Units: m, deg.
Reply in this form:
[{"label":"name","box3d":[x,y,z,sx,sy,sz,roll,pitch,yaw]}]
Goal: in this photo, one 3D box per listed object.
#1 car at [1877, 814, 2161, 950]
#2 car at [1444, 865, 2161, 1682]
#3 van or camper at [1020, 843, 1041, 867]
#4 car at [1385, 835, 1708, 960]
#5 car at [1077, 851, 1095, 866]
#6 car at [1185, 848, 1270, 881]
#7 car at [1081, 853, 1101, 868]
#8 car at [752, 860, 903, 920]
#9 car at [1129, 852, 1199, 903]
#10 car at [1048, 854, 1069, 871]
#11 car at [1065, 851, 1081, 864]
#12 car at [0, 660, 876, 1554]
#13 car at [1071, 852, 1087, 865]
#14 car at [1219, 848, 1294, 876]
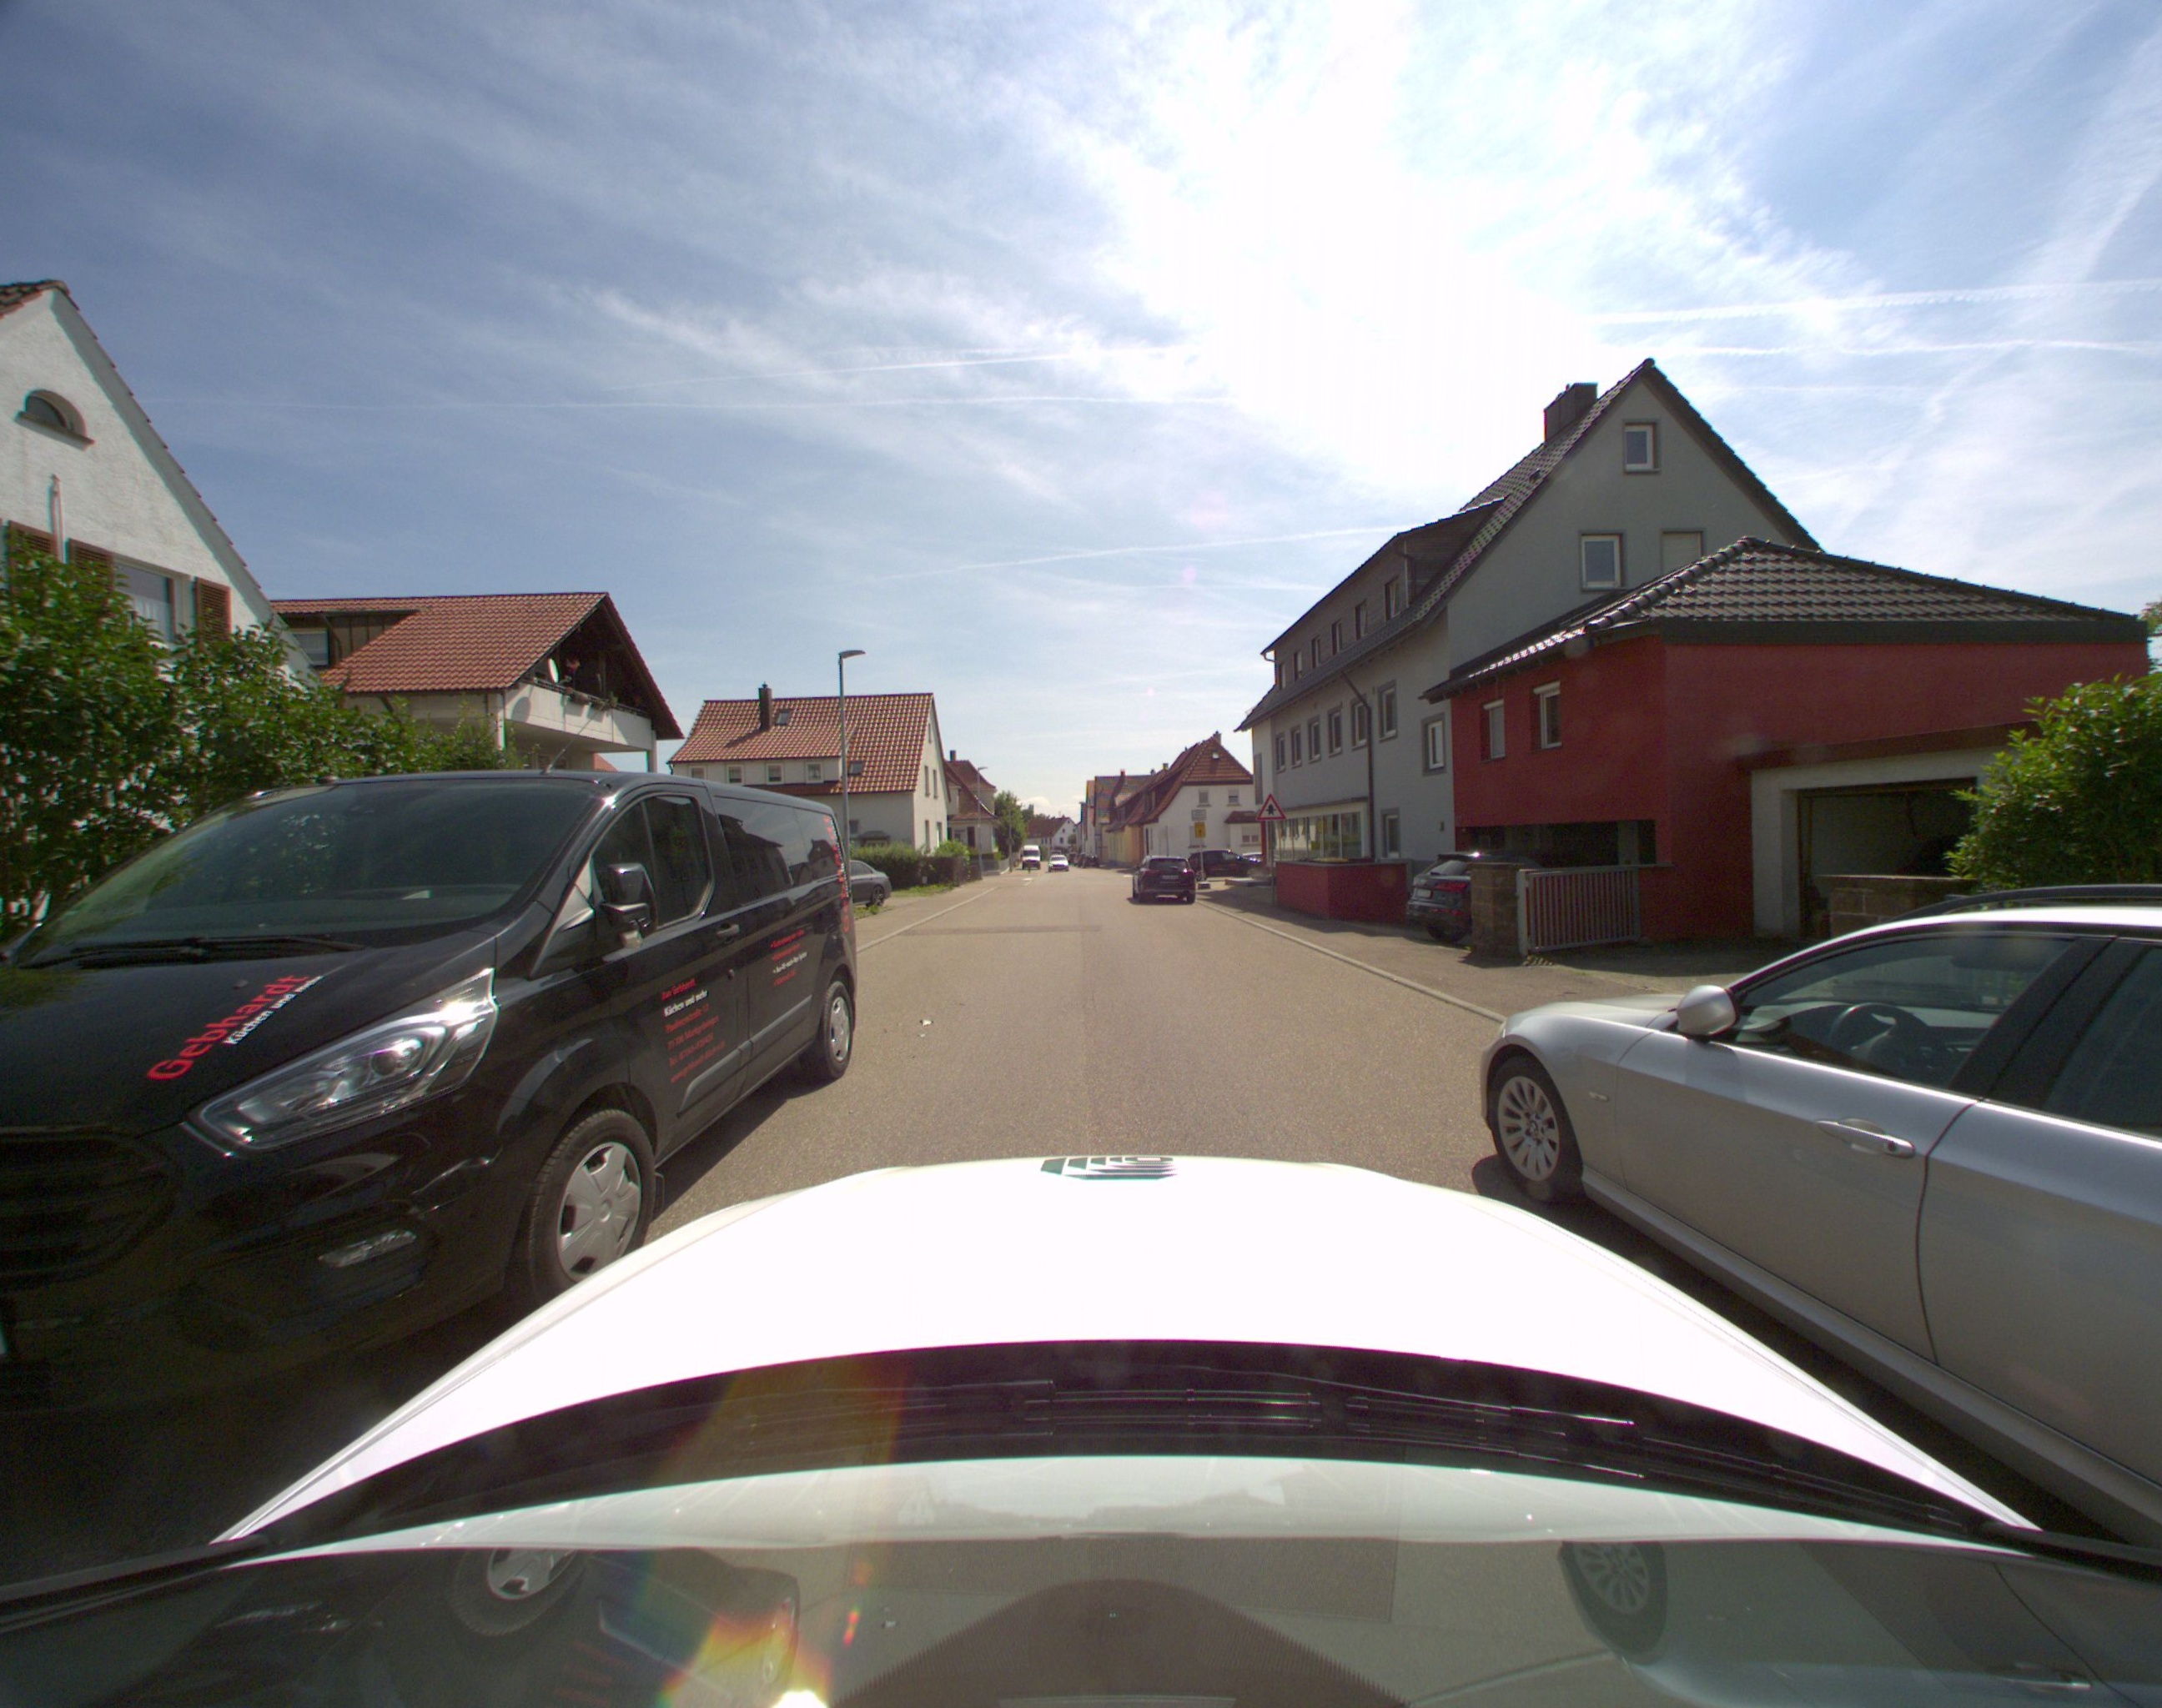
[{"label":"car","box3d":[12.999,0.280,10.443,3.945,1.465,1.787,-3,1,-3]},{"label":"car","box3d":[2.805,0.771,2.136,1.746,1.421,4.420,0,0,0]},{"label":"van or camper","box3d":[-5.546,0.096,89.089,2.180,2.571,6.797,-1,0,-4]},{"label":"car","box3d":[7.678,0.691,13.721,4.357,1.668,1.875,4,0,-3]},{"label":"car","box3d":[0.521,0.519,89.799,1.725,1.600,4.248,-1,0,-3]},{"label":"car","box3d":[7.676,0.537,42.997,4.274,1.653,1.850,-1,0,4]},{"label":"car","box3d":[1.028,0.644,84.050,1.608,1.431,3.746,-1,0,-6]},{"label":"car","box3d":[-6.951,0.943,22.894,1.813,1.432,4.582,-1,0,16]},{"label":"car","box3d":[2.662,0.726,27.046,1.757,1.527,4.403,-1,0,-1]},{"label":"car","box3d":[-2.053,0.708,72.339,1.749,1.438,4.584,-1,0,-3]},{"label":"car","box3d":[-1.151,0.486,116.713,1.873,1.700,4.175,-1,0,-6]},{"label":"car","box3d":[-2.616,0.572,4.141,1.962,1.951,4.694,-2,0,-1]},{"label":"car","box3d":[-0.225,0.565,101.699,1.671,1.559,3.034,-1,0,-6]},{"label":"car","box3d":[10.068,0.466,46.971,3.972,1.504,1.695,-1,0,1]}]
